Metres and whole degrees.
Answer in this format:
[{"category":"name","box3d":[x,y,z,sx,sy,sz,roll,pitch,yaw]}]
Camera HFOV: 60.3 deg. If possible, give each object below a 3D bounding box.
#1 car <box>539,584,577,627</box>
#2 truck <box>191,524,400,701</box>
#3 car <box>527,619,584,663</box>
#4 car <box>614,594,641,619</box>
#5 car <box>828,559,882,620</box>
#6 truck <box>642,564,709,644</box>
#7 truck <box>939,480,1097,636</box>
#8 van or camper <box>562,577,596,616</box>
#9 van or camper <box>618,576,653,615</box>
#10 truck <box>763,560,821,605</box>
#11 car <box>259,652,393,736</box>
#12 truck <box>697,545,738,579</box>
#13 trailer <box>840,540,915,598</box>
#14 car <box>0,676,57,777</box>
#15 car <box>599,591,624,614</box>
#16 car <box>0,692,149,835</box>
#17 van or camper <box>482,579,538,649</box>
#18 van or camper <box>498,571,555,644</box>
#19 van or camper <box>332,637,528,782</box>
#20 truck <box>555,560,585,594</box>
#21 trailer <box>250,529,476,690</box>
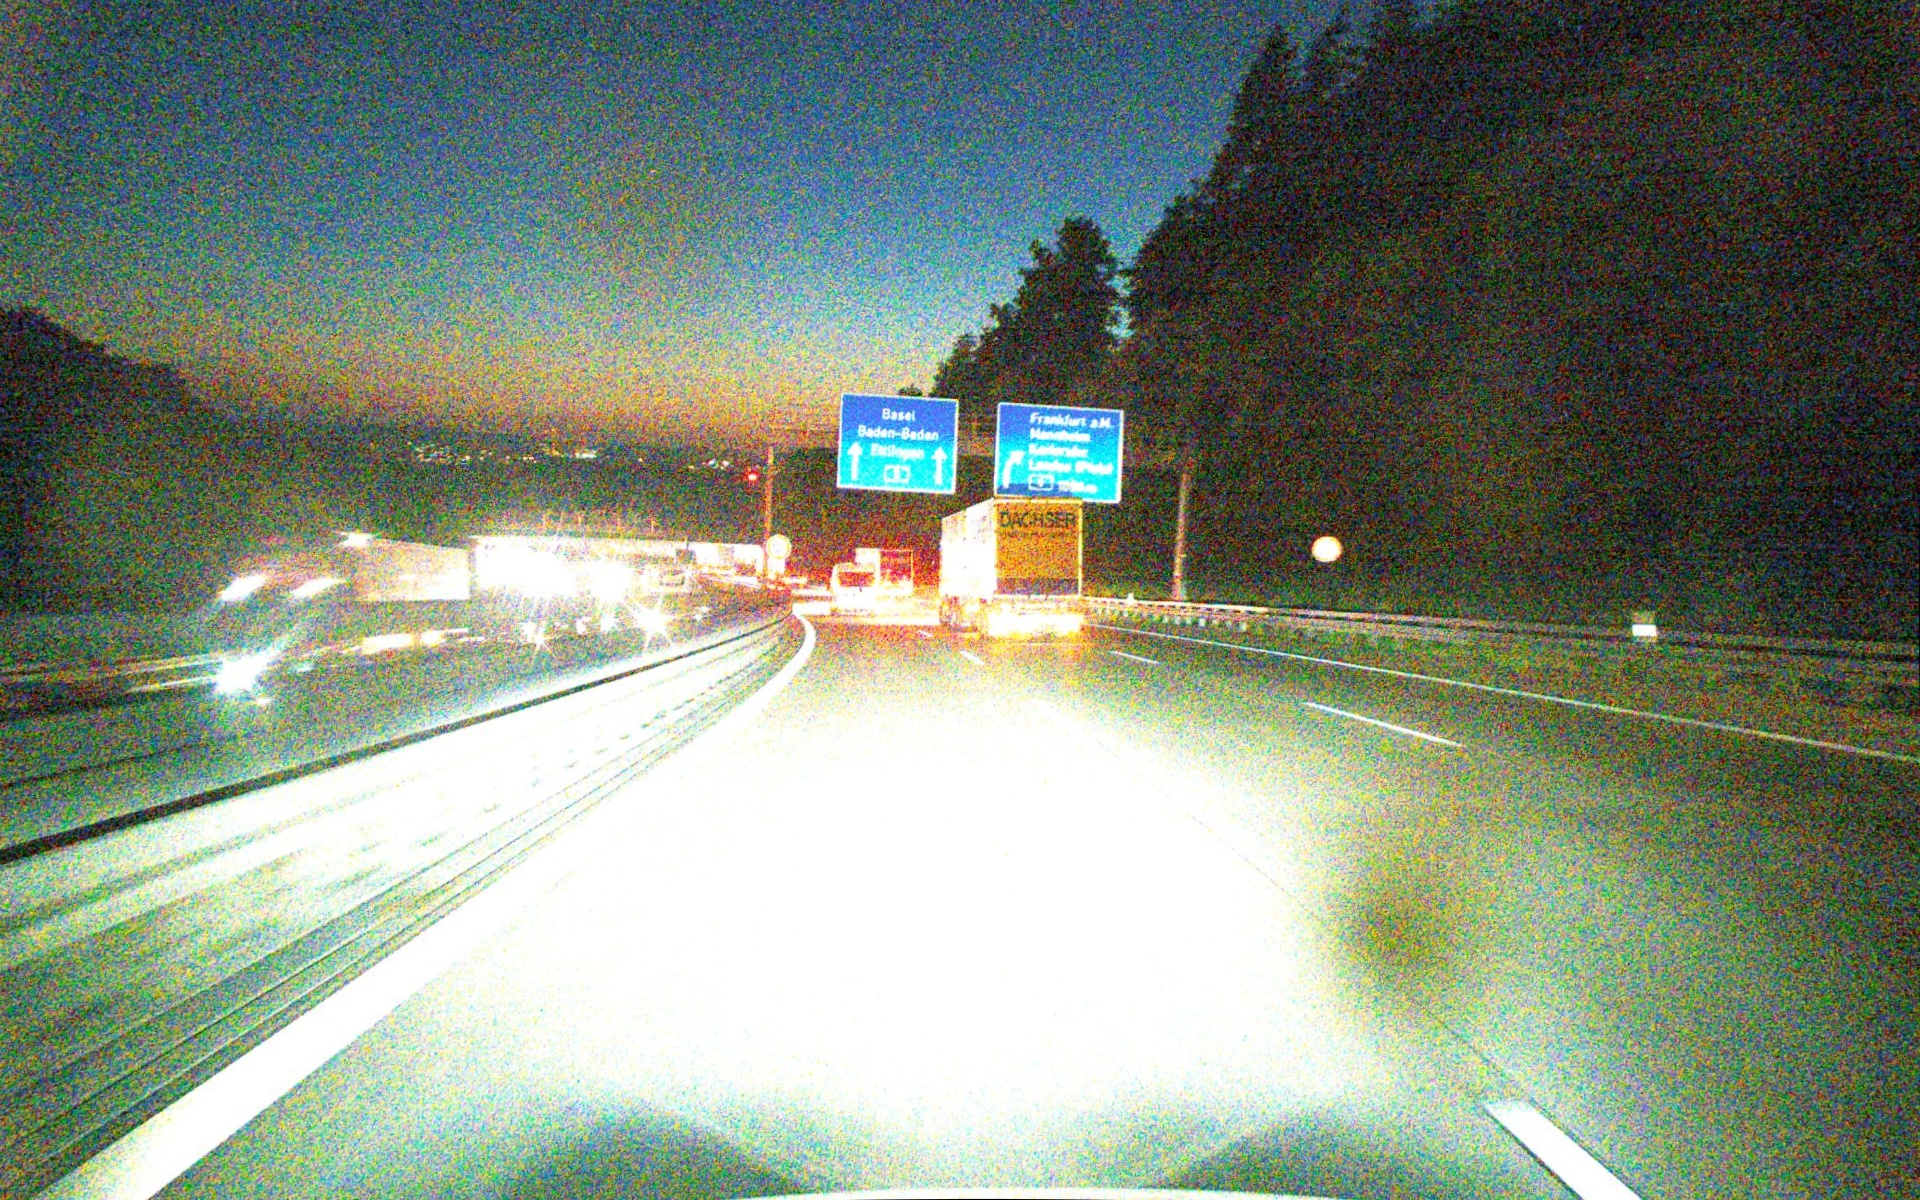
[{"category":"car","box3d":[-23.762,0.279,97.830,1.800,2.412,5.434,-1,1,-10]},{"category":"truck","box3d":[-17.425,0.269,43.912,3.352,4.297,6.276,-1,1,-5]},{"category":"car","box3d":[-15.210,1.522,62.327,1.570,1.467,3.994,-1,1,-7]},{"category":"car","box3d":[-21.066,0.415,104.855,1.577,1.505,4.064,0,-1,-10]},{"category":"car","box3d":[-5.034,-0.487,78.848,2.292,2.686,5.242,3,0,-5]},{"category":"truck","box3d":[-13.664,0.177,80.025,2.603,3.654,8.538,1,0,-6]},{"category":"truck","box3d":[1.469,-1.186,54.584,3.413,4.207,18.696,1,0,-3]},{"category":"van or camper","box3d":[-28.310,-0.265,122.991,2.403,2.809,6.468,-1,1,-13]},{"category":"van or camper","box3d":[-24.454,-0.365,124.396,2.403,2.809,6.468,-1,1,-13]},{"category":"truck","box3d":[-19.668,-2.139,191.709,3.849,4.707,20.945,-1,2,-14]},{"category":"car","box3d":[-13.428,1.955,35.254,1.570,1.467,4.378,-1,1,-6]},{"category":"truck","box3d":[-33.874,-5.351,230.263,3.293,4.553,13.840,2,1,-18]},{"category":"trailer","box3d":[-6.519,-2.493,127.779,2.808,4.137,13.147,-1,2,-17]},{"category":"car","box3d":[-15.693,2.004,25.203,1.567,1.467,4.001,1,0,1]},{"category":"car","box3d":[-32.422,0.217,153.723,1.960,1.994,4.967,-2,0,-15]},{"category":"car","box3d":[-12.306,2.071,21.547,1.568,1.467,3.999,-1,1,-2]},{"category":"van or camper","box3d":[-20.247,0.571,74.619,1.800,3.023,6.384,-1,1,-10]},{"category":"van or camper","box3d":[-21.366,0.345,81.721,2.228,3.438,5.680,-1,1,-10]},{"category":"van or camper","box3d":[-8.718,1.725,27.641,1.990,2.049,4.573,-1,1,-3]},{"category":"truck","box3d":[-40.145,-2.390,169.945,2.338,3.316,7.685,-2,1,-18]},{"category":"trailer","box3d":[-18.116,0.193,51.441,3.369,4.315,12.818,-1,1,-5]}]
